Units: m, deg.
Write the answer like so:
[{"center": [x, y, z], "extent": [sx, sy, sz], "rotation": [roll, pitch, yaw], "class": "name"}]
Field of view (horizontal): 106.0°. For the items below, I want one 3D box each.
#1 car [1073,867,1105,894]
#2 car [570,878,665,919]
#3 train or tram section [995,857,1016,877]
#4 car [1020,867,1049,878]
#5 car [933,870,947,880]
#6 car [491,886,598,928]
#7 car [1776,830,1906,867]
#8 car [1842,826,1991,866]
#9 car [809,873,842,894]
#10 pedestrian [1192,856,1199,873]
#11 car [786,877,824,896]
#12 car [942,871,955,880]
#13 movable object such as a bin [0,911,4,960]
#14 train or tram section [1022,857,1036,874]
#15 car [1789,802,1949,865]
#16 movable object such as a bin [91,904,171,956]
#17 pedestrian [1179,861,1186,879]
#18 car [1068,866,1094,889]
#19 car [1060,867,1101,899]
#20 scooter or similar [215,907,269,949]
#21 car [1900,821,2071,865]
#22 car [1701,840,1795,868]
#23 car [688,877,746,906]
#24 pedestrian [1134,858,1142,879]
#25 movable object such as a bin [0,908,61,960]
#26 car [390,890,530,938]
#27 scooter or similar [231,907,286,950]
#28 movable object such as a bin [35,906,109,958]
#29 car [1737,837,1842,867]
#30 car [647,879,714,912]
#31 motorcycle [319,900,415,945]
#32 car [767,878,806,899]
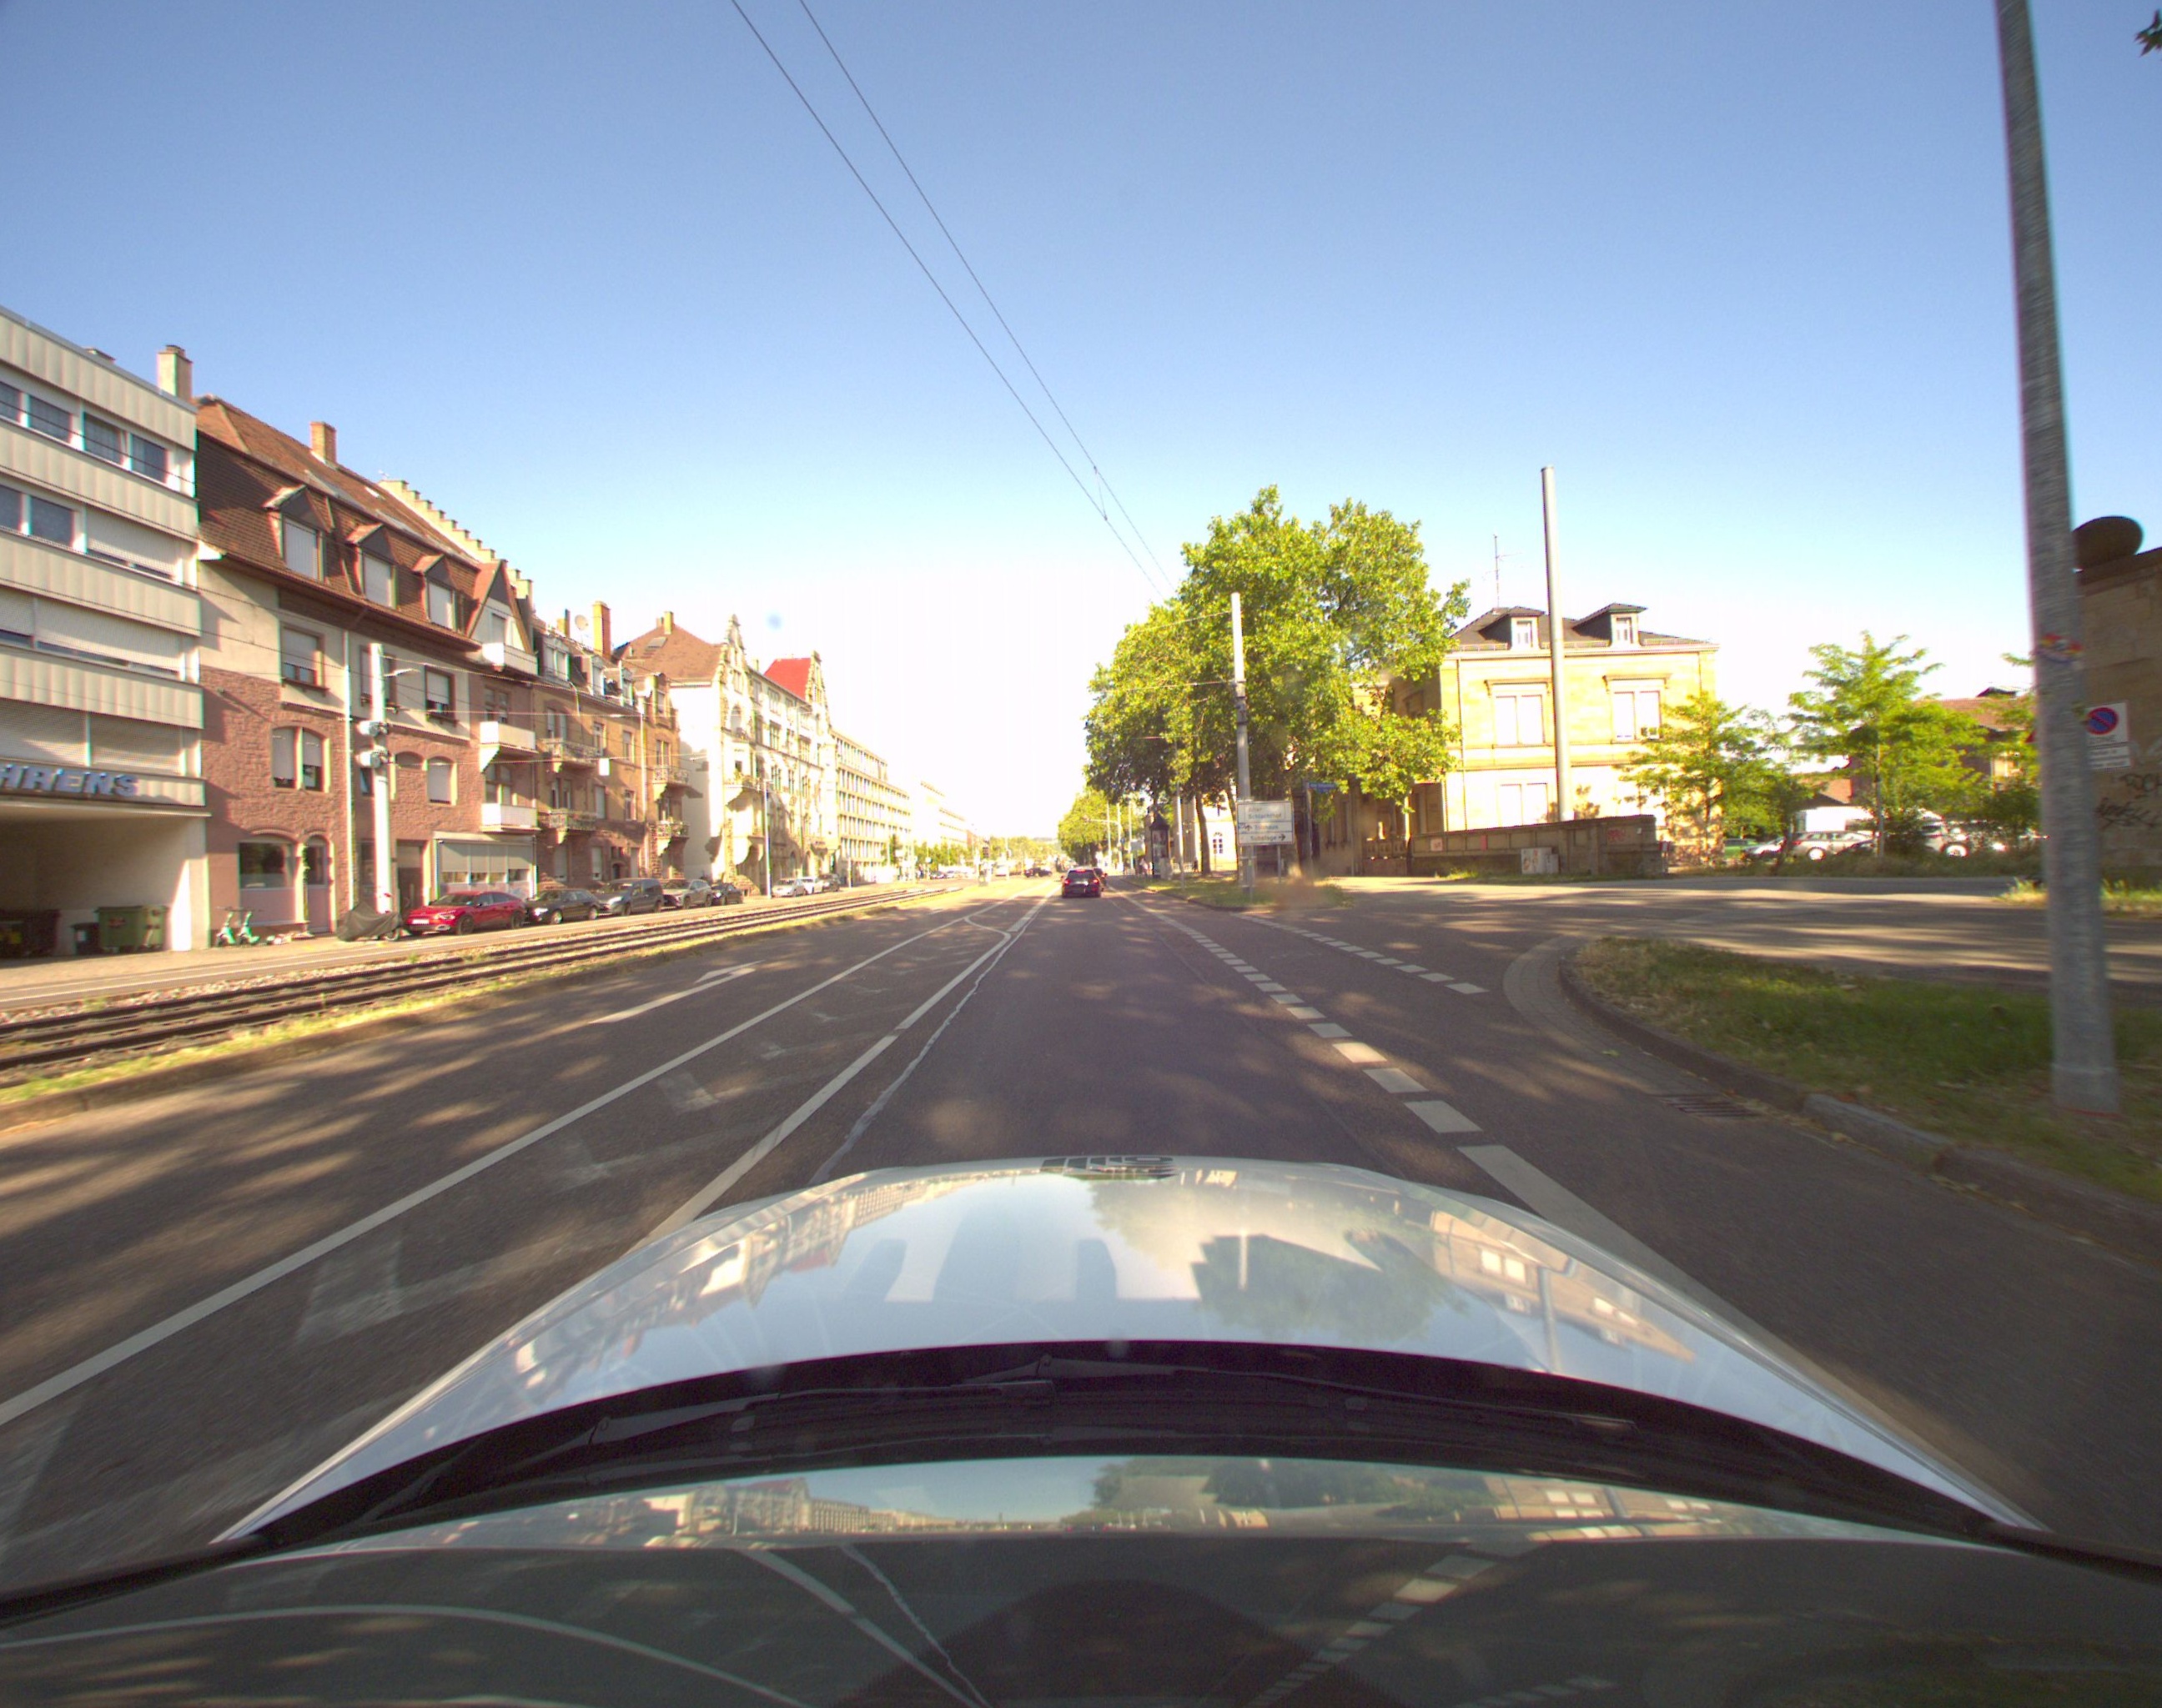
[{"center": [0.497, 1.567, 49.224], "extent": [1.788, 1.510, 3.999], "rotation": [-3, -1, 0], "class": "car"}, {"center": [-22.116, 2.086, 39.090], "extent": [1.787, 1.754, 4.457], "rotation": [1, -1, 2], "class": "car"}, {"center": [-13.944, 2.390, 150.556], "extent": [2.817, 3.451, 9.061], "rotation": [-3, -1, 0], "class": "train or tram section"}, {"center": [-6.420, 2.515, 112.861], "extent": [1.777, 1.510, 4.025], "rotation": [-2, -2, 35], "class": "car"}, {"center": [-24.287, 3.627, 140.009], "extent": [1.790, 1.510, 3.995], "rotation": [-3, -1, -3], "class": "car"}, {"center": [-22.155, 2.142, 33.842], "extent": [1.789, 1.510, 3.998], "rotation": [1, -1, -1], "class": "car"}, {"center": [35.854, -0.226, 38.542], "extent": [4.078, 1.510, 1.809], "rotation": [-3, -2, 21], "class": "car"}, {"center": [35.963, -0.321, 35.193], "extent": [4.078, 1.510, 1.809], "rotation": [-3, -2, 21], "class": "car"}, {"center": [-23.046, 2.638, 73.650], "extent": [1.789, 1.719, 4.181], "rotation": [1, -1, -2], "class": "car"}, {"center": [11.176, 1.024, 79.319], "extent": [0.584, 1.728, 0.652], "rotation": [-1, -1, 14], "class": "pedestrian"}, {"center": [-22.929, 2.678, 67.822], "extent": [1.789, 1.510, 4.181], "rotation": [1, -1, -2], "class": "car"}, {"center": [-23.851, 3.903, 146.765], "extent": [1.790, 1.510, 3.995], "rotation": [-3, -1, -3], "class": "car"}, {"center": [-31.288, 2.331, 22.841], "extent": [1.263, 1.371, 0.635], "rotation": [-3, -1, -1], "class": "movable object such as a bin"}, {"center": [-11.508, 2.613, 181.462], "extent": [2.818, 3.451, 9.055], "rotation": [-3, -1, -2], "class": "train or tram section"}, {"center": [39.052, -0.965, 40.538], "extent": [5.296, 2.807, 1.809], "rotation": [-3, -2, 21], "class": "car"}, {"center": [-27.078, 2.164, 23.223], "extent": [1.410, 1.371, 0.633], "rotation": [-2, -1, -8], "class": "movable object such as a bin"}, {"center": [9.855, 1.513, 79.310], "extent": [0.584, 1.728, 0.652], "rotation": [-1, -1, 12], "class": "pedestrian"}, {"center": [0.015, 1.675, 58.810], "extent": [1.788, 1.510, 3.999], "rotation": [-3, -1, 0], "class": "car"}, {"center": [-0.052, 1.378, 39.913], "extent": [1.828, 1.391, 4.156], "rotation": [-2, -1, -1], "class": "car"}, {"center": [-25.601, 2.249, 24.869], "extent": [0.390, 1.206, 1.200], "rotation": [0, -1, 0], "class": "scooter or similar"}, {"center": [35.645, -0.398, 32.247], "extent": [4.078, 1.510, 1.809], "rotation": [-3, -2, 21], "class": "car"}, {"center": [41.328, 0.035, 50.563], "extent": [4.078, 1.510, 1.809], "rotation": [-3, -2, 21], "class": "car"}, {"center": [-22.425, 2.300, 50.366], "extent": [1.681, 1.652, 4.197], "rotation": [1, -1, -1], "class": "car"}, {"center": [4.865, 1.205, 69.051], "extent": [0.584, 1.728, 0.652], "rotation": [-1, -1, 12], "class": "pedestrian"}, {"center": [-29.952, 2.273, 23.043], "extent": [1.264, 1.371, 0.634], "rotation": [-3, -1, -5], "class": "movable object such as a bin"}, {"center": [-22.201, 2.113, 29.347], "extent": [1.789, 1.460, 4.263], "rotation": [1, -1, -1], "class": "car"}, {"center": [-25.038, 2.258, 24.807], "extent": [0.390, 1.206, 1.200], "rotation": [0, -1, 0], "class": "scooter or similar"}, {"center": [-28.493, 2.180, 23.006], "extent": [1.192, 1.371, 0.633], "rotation": [-2, -1, -7], "class": "movable object such as a bin"}, {"center": [40.405, -0.064, 46.553], "extent": [4.078, 1.510, 1.809], "rotation": [-3, -2, 21], "class": "car"}, {"center": [-22.193, 2.256, 45.308], "extent": [1.681, 1.652, 4.197], "rotation": [1, -1, -1], "class": "car"}, {"center": [-22.516, 2.138, 25.738], "extent": [2.072, 1.327, 0.836], "rotation": [1, -1, -17], "class": "motorcycle"}, {"center": [-22.587, 2.619, 62.605], "extent": [1.791, 1.510, 3.993], "rotation": [1, -1, -5], "class": "car"}]
